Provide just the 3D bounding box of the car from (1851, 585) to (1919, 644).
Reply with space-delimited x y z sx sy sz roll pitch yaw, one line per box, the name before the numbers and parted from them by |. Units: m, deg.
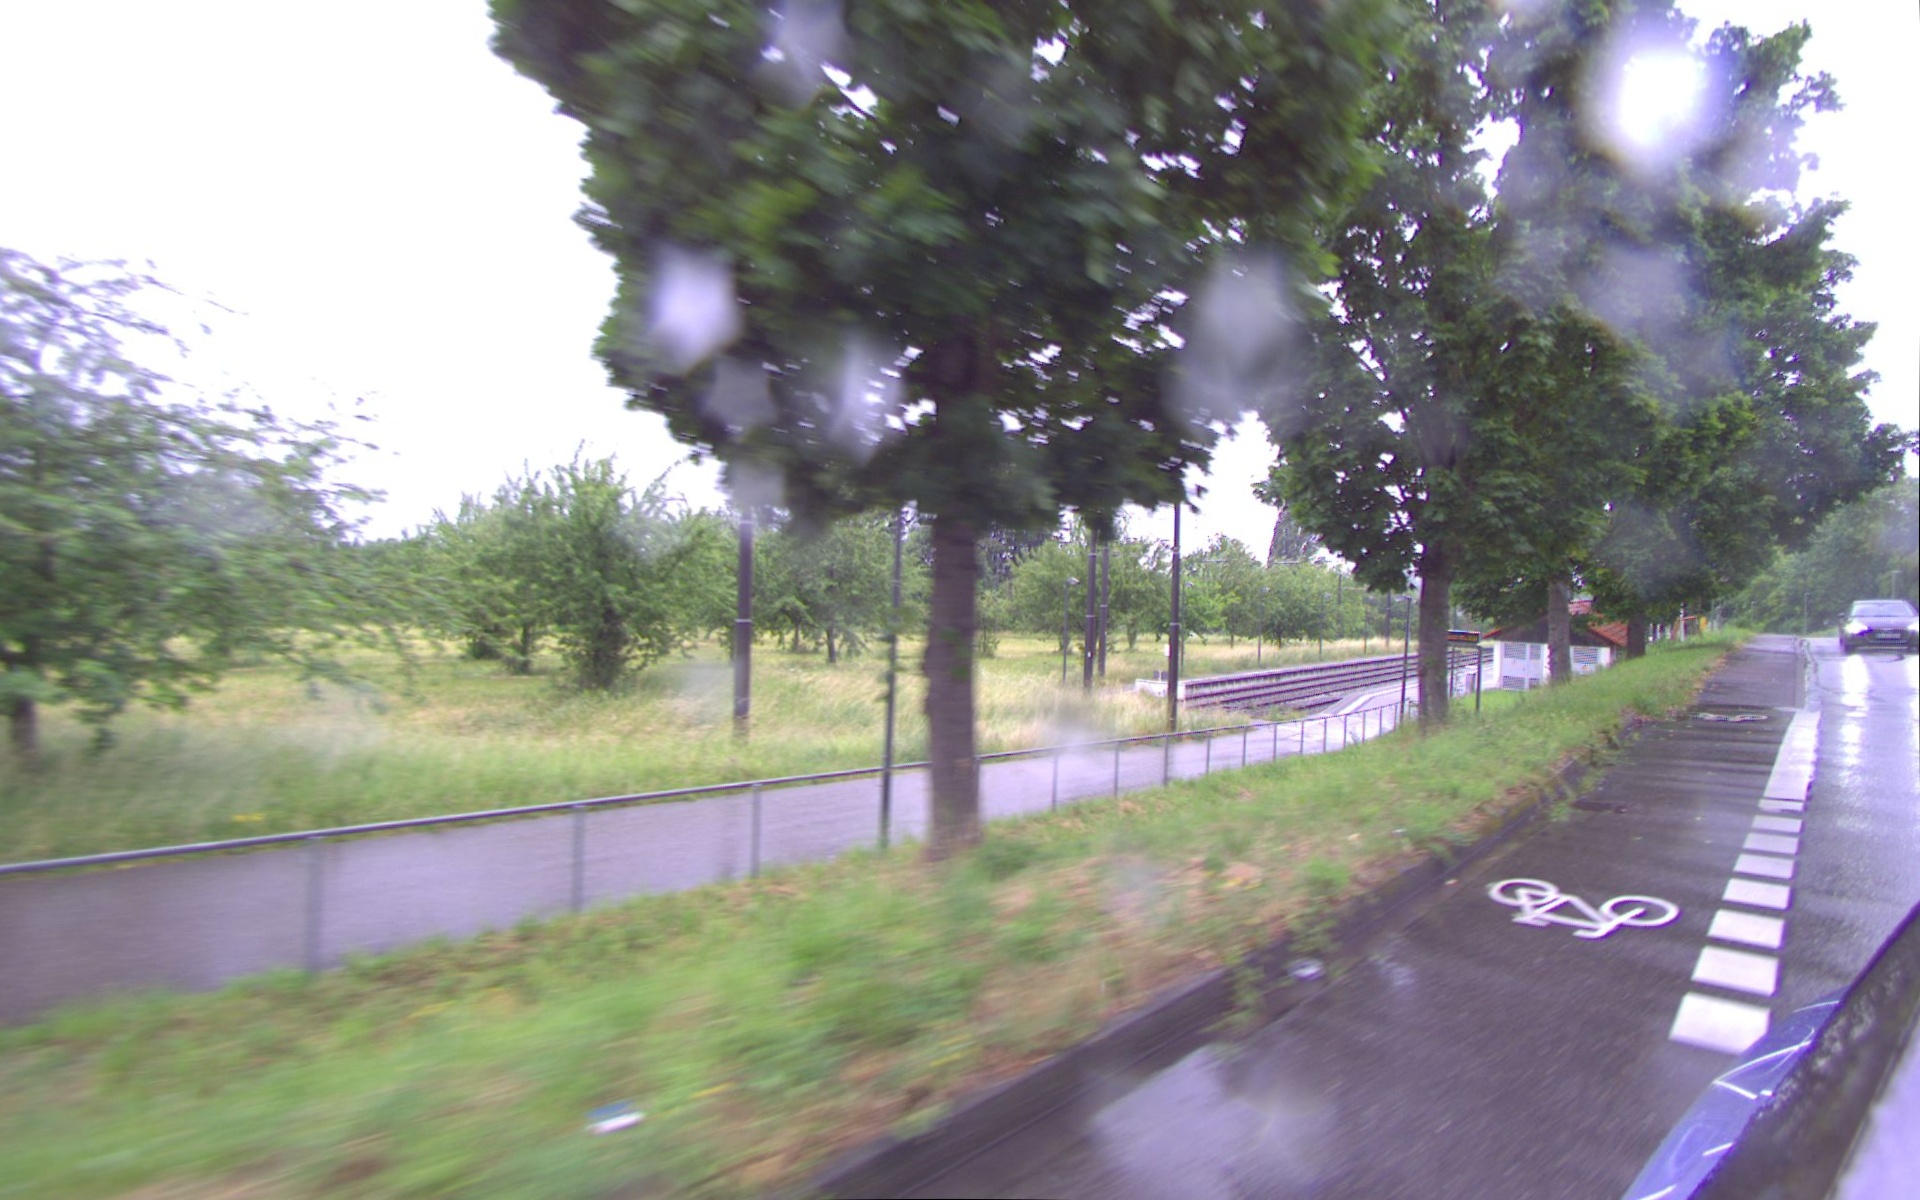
car | 26.784 0.452 28.910 1.758 1.504 3.736 3 0 39
